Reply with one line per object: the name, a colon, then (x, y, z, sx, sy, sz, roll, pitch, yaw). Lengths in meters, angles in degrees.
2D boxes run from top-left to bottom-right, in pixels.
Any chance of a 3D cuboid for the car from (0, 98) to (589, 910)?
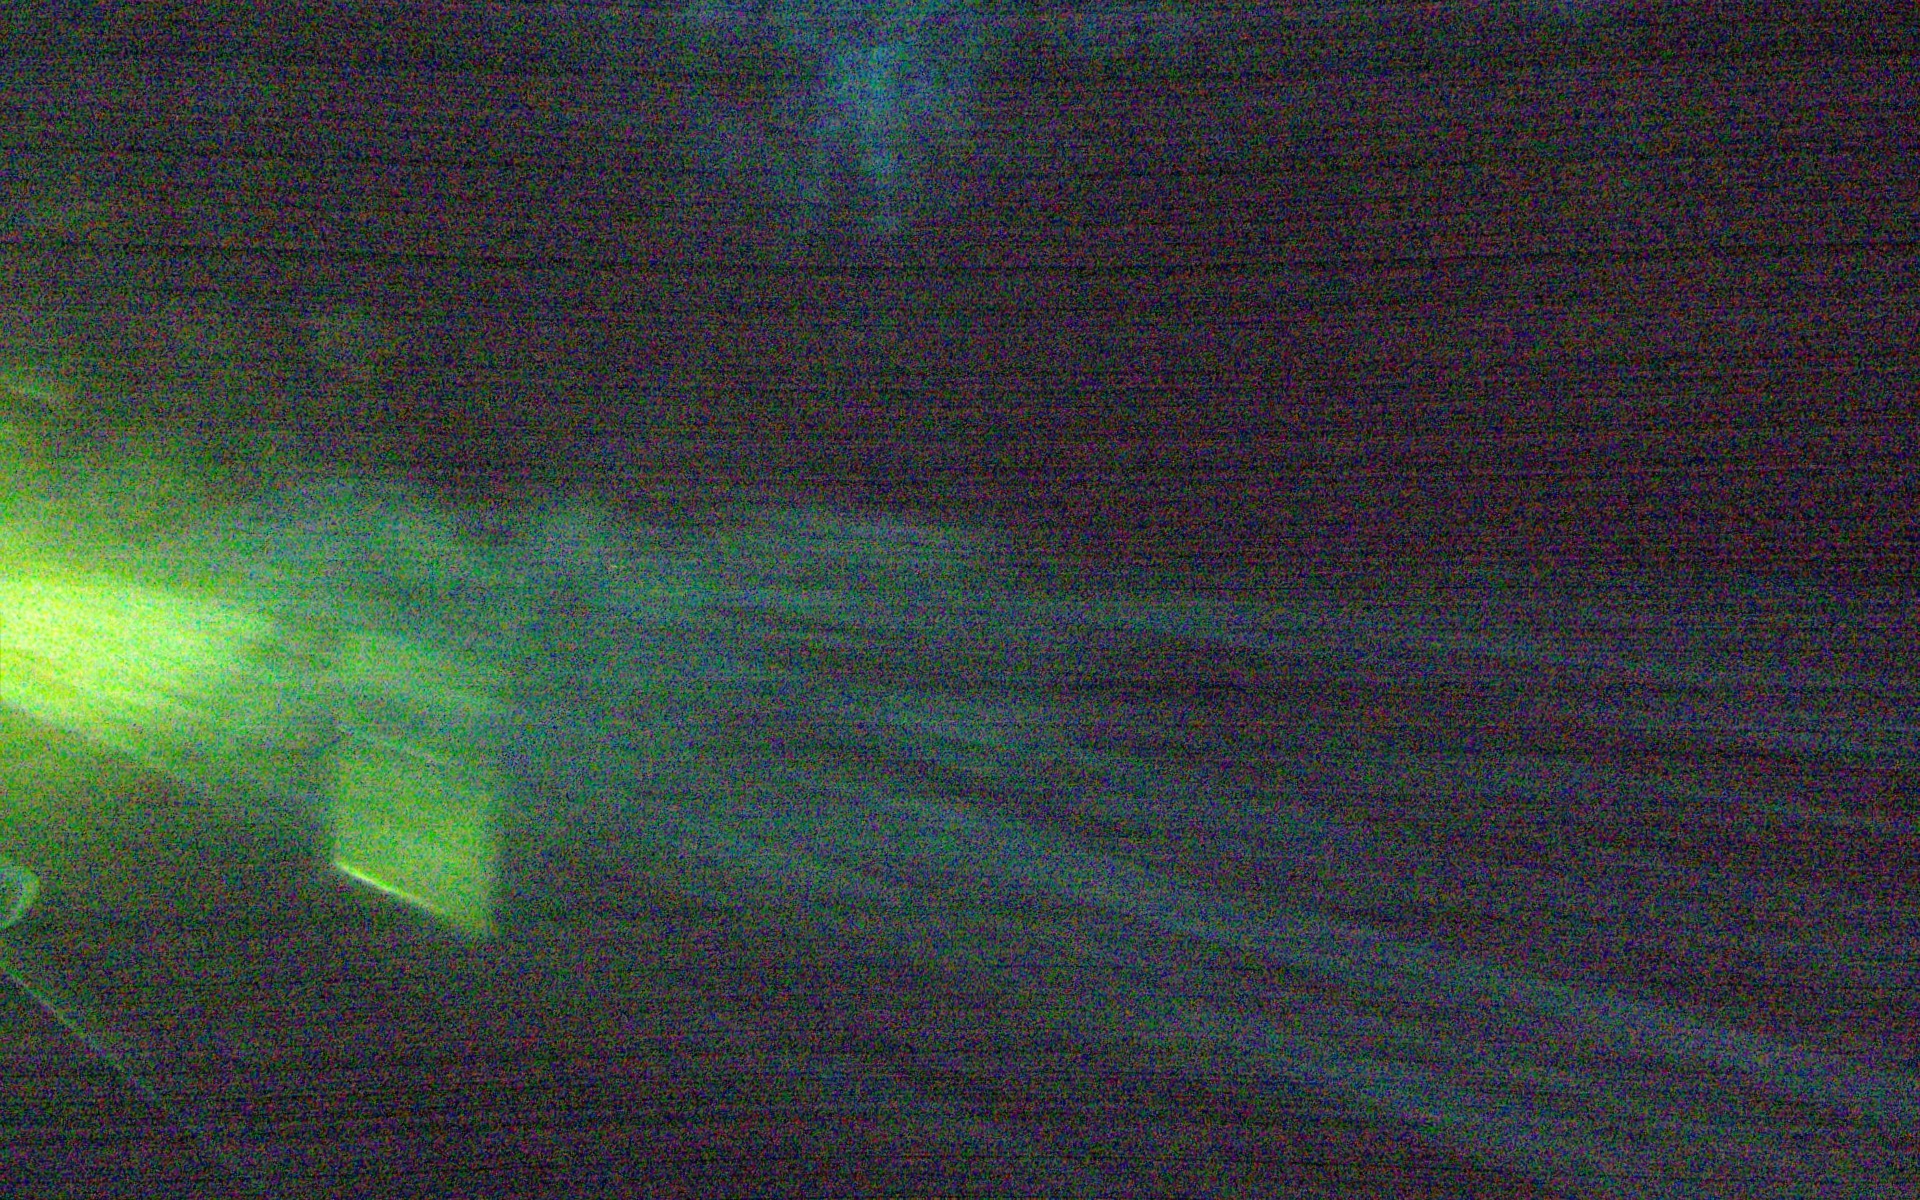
car: (-3.893, -0.263, 4.135, 4.139, 2.036, 2.202, 3, -4, 31)
